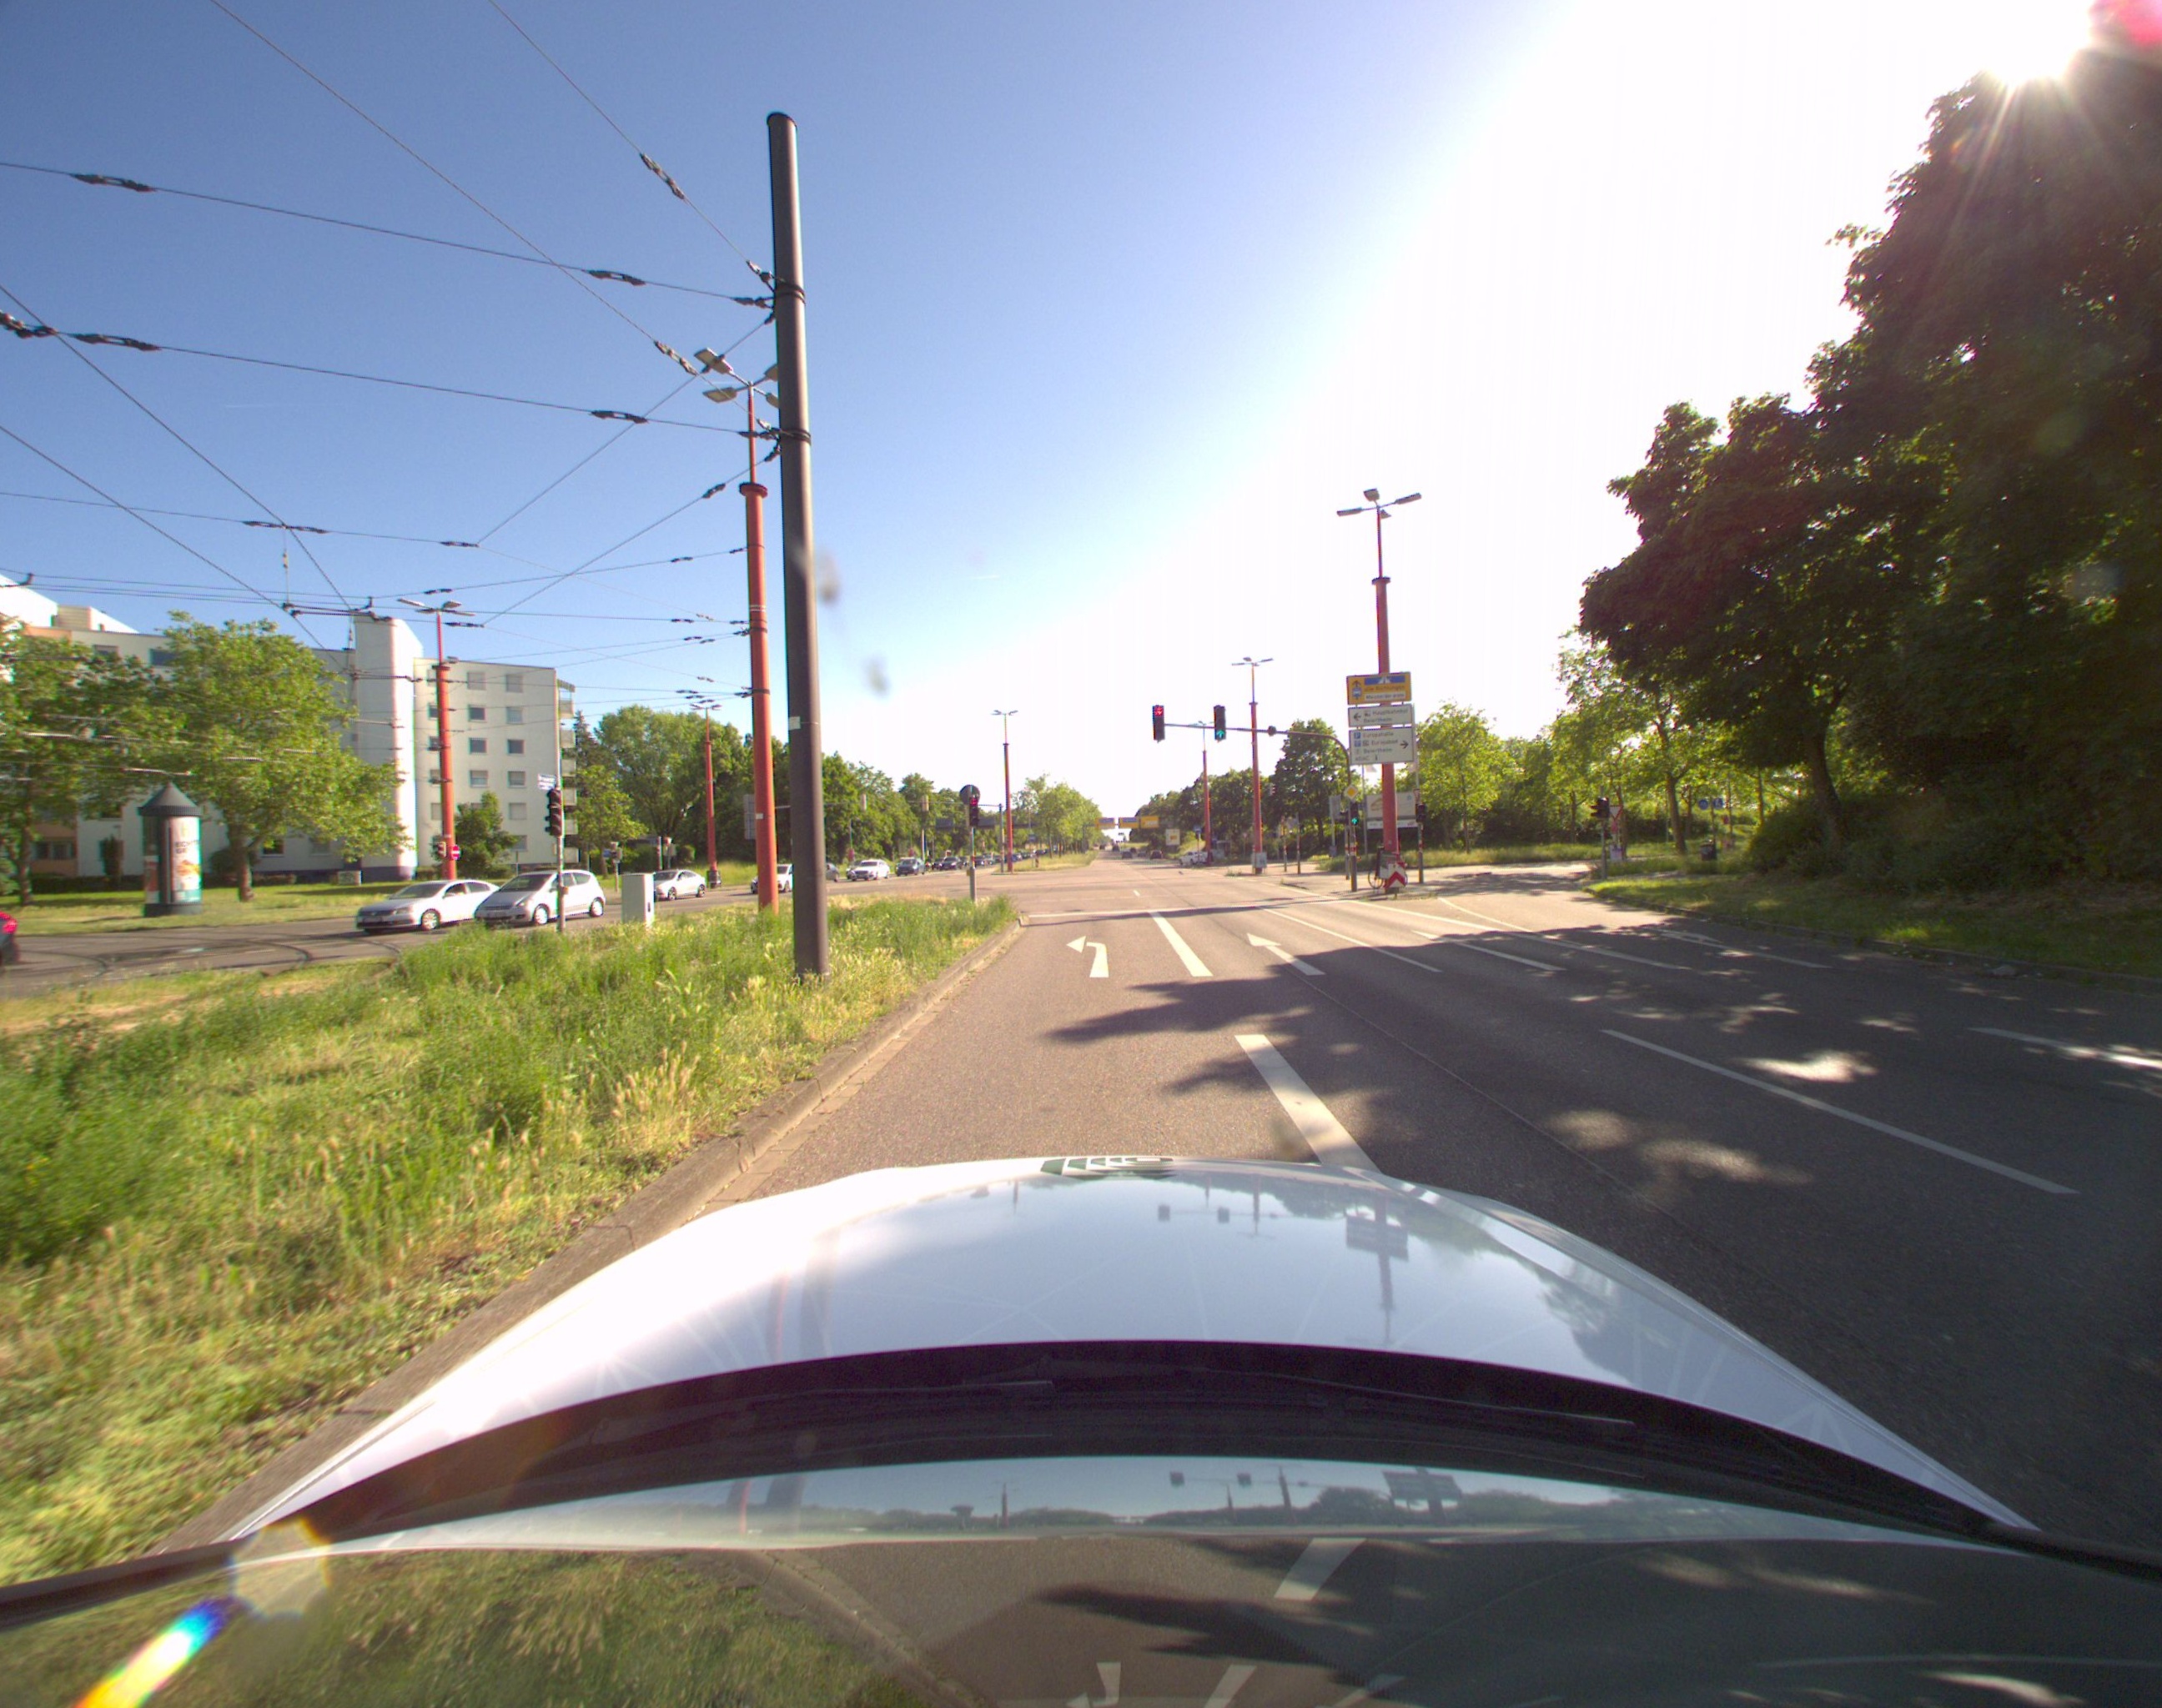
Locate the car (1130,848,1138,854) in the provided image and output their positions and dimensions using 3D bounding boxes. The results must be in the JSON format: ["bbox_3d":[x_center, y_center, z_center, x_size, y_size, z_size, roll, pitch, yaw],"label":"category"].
[{"bbox_3d":[14.189,-0.778,217.344,1.985,1.540,4.003,-3,0,2],"label":"car"}]

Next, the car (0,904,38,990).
[{"bbox_3d":[-20.148,1.664,12.588,1.985,1.481,4.634,-1,0,3],"label":"car"}]

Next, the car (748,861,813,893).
[{"bbox_3d":[-15.755,1.171,42.937,1.582,1.472,4.186,-3,1,3],"label":"car"}]

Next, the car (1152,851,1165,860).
[{"bbox_3d":[12.052,0.163,127.197,1.731,1.341,3.083,-2,0,2],"label":"car"}]

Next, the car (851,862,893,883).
[{"bbox_3d":[-15.221,1.333,59.500,1.697,1.423,4.644,-3,0,1],"label":"car"}]

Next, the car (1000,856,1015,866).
[{"bbox_3d":[-10.518,0.969,116.847,1.694,1.421,4.002,1,0,2],"label":"car"}]

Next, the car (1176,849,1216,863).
[{"bbox_3d":[11.706,0.238,83.276,2.064,1.371,4.355,-2,0,-25],"label":"car"}]

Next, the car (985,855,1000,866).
[{"bbox_3d":[-12.895,0.900,118.501,1.599,1.459,3.951,-2,0,1],"label":"car"}]

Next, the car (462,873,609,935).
[{"bbox_3d":[-16.435,1.445,24.782,1.756,1.608,3.760,-2,0,2],"label":"car"}]

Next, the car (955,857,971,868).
[{"bbox_3d":[-17.350,1.222,120.014,1.538,1.433,3.887,-3,0,2],"label":"car"}]

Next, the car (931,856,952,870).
[{"bbox_3d":[-17.263,1.102,101.086,1.870,1.576,4.000,-1,0,0],"label":"car"}]

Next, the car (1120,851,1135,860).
[{"bbox_3d":[7.954,0.239,139.921,1.989,1.496,3.995,-2,0,-3],"label":"car"}]

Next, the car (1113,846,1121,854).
[{"bbox_3d":[10.628,-1.196,241.025,2.146,2.013,4.002,-2,0,2],"label":"car"}]

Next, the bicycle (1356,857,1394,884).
[{"bbox_3d":[10.684,0.599,29.510,0.552,0.878,2.182,-3,0,40],"label":"bicycle"}]

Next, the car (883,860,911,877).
[{"bbox_3d":[-19.261,1.486,85.314,1.794,1.707,4.061,-2,0,2],"label":"car"}]

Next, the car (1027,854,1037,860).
[{"bbox_3d":[-10.663,0.638,178.901,1.998,1.308,3.998,-2,0,-1],"label":"car"}]

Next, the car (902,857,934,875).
[{"bbox_3d":[-15.684,1.166,78.585,1.830,1.601,4.442,-2,0,3],"label":"car"}]

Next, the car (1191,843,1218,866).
[{"bbox_3d":[10.676,0.004,70.327,1.980,1.887,4.014,-2,0,12],"label":"car"}]

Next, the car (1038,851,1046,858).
[{"bbox_3d":[-9.969,0.127,209.176,1.619,1.739,4.002,-2,0,2],"label":"car"}]

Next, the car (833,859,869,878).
[{"bbox_3d":[-19.533,1.201,69.414,1.870,1.576,4.000,-1,0,0],"label":"car"}]

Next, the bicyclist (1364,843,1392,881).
[{"bbox_3d":[10.797,0.290,29.586,0.698,1.341,0.747,-2,0,40],"label":"bicyclist"}]

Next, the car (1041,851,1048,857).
[{"bbox_3d":[-10.192,0.076,229.764,1.650,1.747,4.003,-1,0,3],"label":"car"}]

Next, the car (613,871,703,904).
[{"bbox_3d":[-19.924,1.519,38.554,1.988,1.374,4.398,-1,0,-1],"label":"car"}]

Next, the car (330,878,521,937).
[{"bbox_3d":[-20.009,1.567,25.183,1.986,1.432,4.694,-3,0,1],"label":"car"}]

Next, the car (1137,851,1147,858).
[{"bbox_3d":[12.382,0.100,165.747,1.986,1.540,4.002,-1,0,2],"label":"car"}]

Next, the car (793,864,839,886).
[{"bbox_3d":[-18.704,1.458,57.736,1.855,1.341,4.031,-3,0,1],"label":"car"}]

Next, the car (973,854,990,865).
[{"bbox_3d":[-13.203,0.692,108.440,1.543,1.377,4.263,-2,0,1],"label":"car"}]

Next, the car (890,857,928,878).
[{"bbox_3d":[-14.831,1.131,70.409,1.985,1.594,4.468,-2,0,3],"label":"car"}]

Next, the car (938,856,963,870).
[{"bbox_3d":[-14.002,0.967,87.641,1.870,1.485,4.604,-1,0,0],"label":"car"}]
